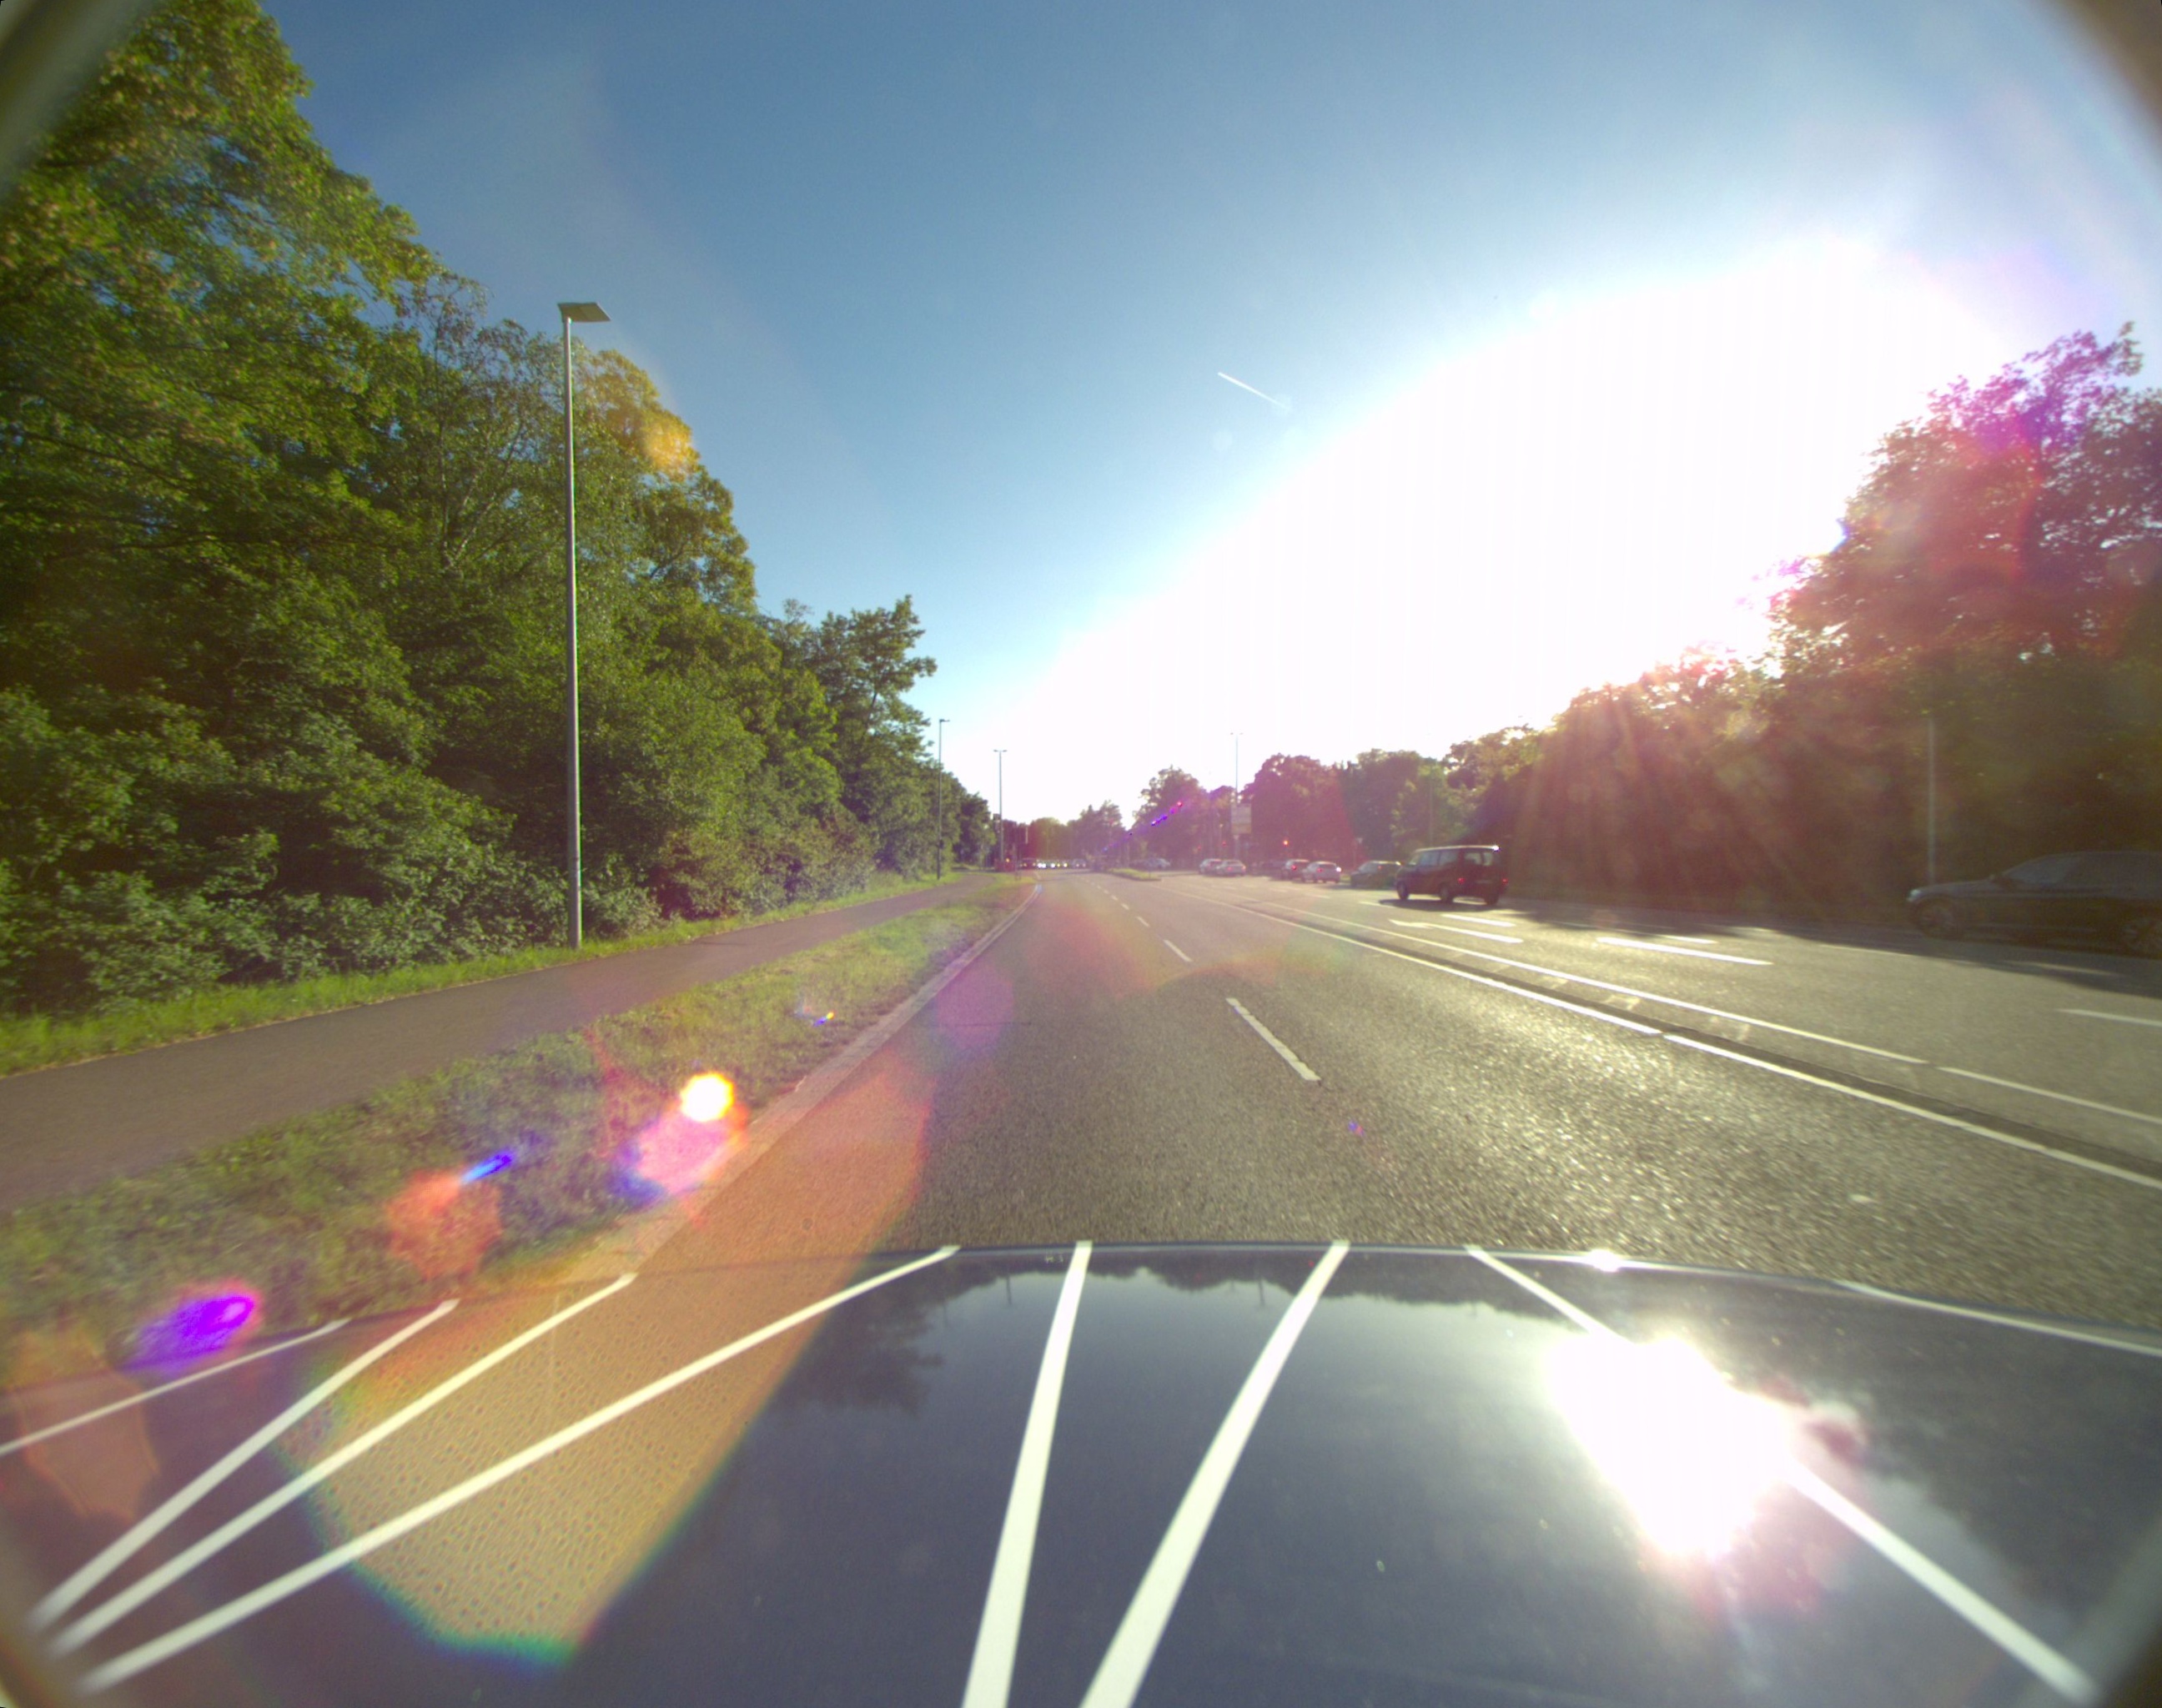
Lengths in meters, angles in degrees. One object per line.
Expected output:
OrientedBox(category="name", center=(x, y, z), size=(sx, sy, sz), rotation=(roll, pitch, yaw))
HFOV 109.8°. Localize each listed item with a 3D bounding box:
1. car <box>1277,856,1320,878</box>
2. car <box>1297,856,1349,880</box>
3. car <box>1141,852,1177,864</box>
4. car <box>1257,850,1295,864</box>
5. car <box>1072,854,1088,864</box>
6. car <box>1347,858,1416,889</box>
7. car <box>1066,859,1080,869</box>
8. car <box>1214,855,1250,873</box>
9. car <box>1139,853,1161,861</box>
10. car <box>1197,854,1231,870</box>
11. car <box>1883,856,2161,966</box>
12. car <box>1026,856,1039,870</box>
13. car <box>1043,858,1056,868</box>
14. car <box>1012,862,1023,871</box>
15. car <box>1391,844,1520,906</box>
OrientedBox(category="car", center=(17.199, 0.992, 60.311), size=(1.999, 1.555, 4.647), rotation=(2, 0, 0))
OrientedBox(category="car", center=(16.950, 0.943, 53.482), size=(1.999, 1.555, 4.646), rotation=(3, 0, -3))
OrientedBox(category="car", center=(9.820, 0.479, 95.912), size=(3.988, 1.510, 2.004), rotation=(0, 0, 38))
OrientedBox(category="car", center=(25.193, 0.387, 98.273), size=(4.733, 1.677, 2.002), rotation=(0, 0, 15))
OrientedBox(category="car", center=(-0.187, 0.743, 114.284), size=(1.999, 1.510, 3.997), rotation=(-1, 1, -6))
OrientedBox(category="car", center=(16.919, 1.050, 43.036), size=(1.999, 1.555, 4.647), rotation=(2, 0, 0))
OrientedBox(category="car", center=(-1.290, 1.610, 125.281), size=(1.999, 1.510, 3.997), rotation=(-1, 1, -6))
OrientedBox(category="car", center=(13.222, 0.866, 66.679), size=(1.999, 1.442, 4.646), rotation=(1, 0, -3))
OrientedBox(category="car", center=(14.093, 0.614, 156.142), size=(4.003, 1.510, 1.997), rotation=(-1, 1, -17))
OrientedBox(category="car", center=(12.896, 0.744, 74.071), size=(1.999, 1.442, 4.839), rotation=(1, 0, -5))
OrientedBox(category="car", center=(17.036, 0.846, 12.759), size=(1.999, 1.627, 4.843), rotation=(0, 0, 0))
OrientedBox(category="car", center=(-7.927, 1.477, 124.817), size=(1.999, 2.057, 3.997), rotation=(-1, 1, -6))
OrientedBox(category="car", center=(-5.225, 1.427, 126.285), size=(1.999, 1.510, 3.997), rotation=(-1, 1, -6))
OrientedBox(category="car", center=(-11.695, 2.247, 139.751), size=(1.999, 1.510, 3.997), rotation=(-1, 1, -6))
OrientedBox(category="car", center=(12.963, 0.668, 26.704), size=(1.999, 1.950, 4.646), rotation=(1, 0, -3))
